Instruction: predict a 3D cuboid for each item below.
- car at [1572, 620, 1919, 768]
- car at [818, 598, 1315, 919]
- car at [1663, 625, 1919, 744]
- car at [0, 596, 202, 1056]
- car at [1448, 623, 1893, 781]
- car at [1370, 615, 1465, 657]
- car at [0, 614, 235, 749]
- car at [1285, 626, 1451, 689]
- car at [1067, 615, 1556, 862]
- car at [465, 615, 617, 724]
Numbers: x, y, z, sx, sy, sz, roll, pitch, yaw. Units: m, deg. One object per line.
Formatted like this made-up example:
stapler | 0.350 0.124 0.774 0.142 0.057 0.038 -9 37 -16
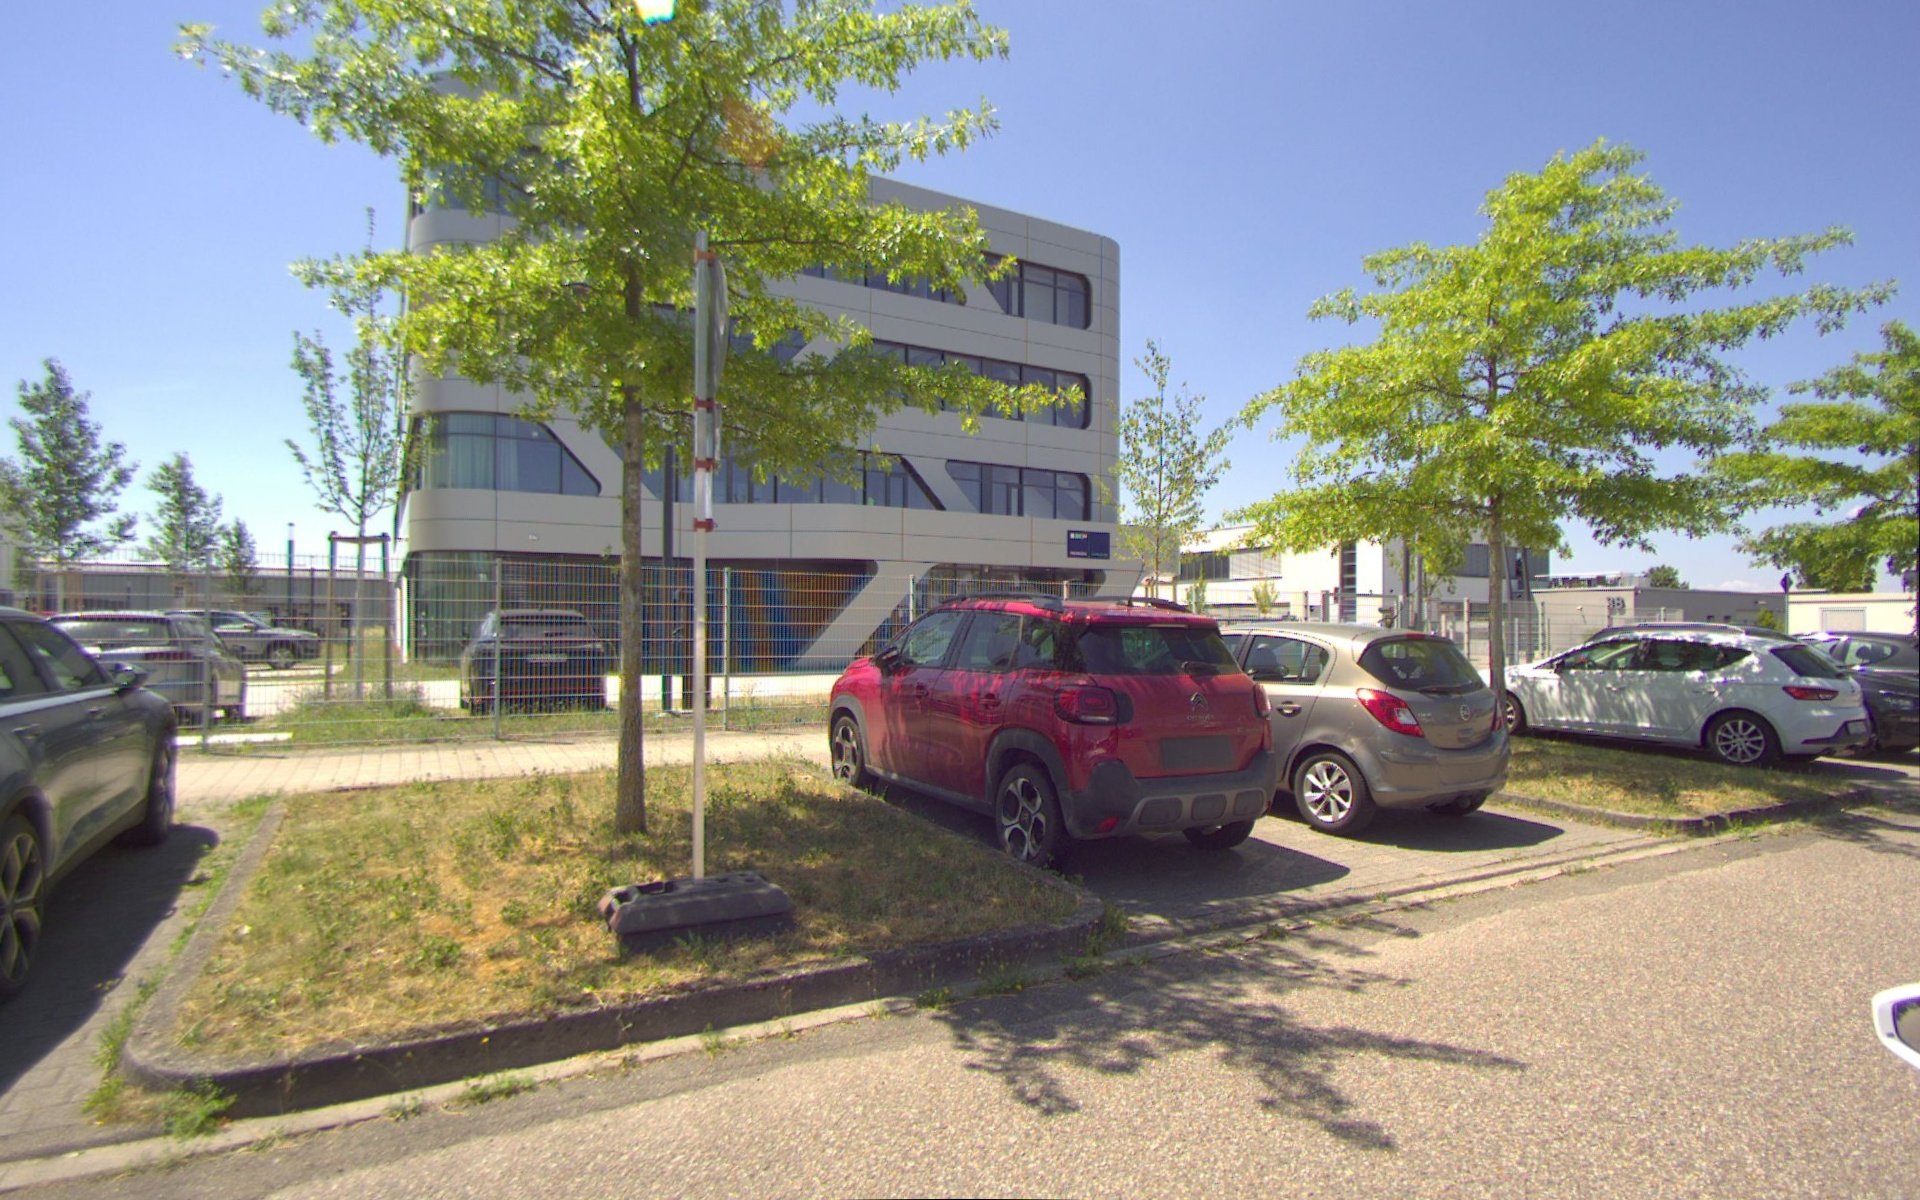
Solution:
car | 10.557 1.102 13.203 1.765 1.541 3.905 1 0 -32
car | 0.474 0.828 7.279 1.794 1.643 3.721 1 0 -29
car | 12.736 1.166 14.716 1.707 1.455 3.605 1 0 -32
car | -4.748 0.763 4.385 1.692 1.500 4.174 1 1 -29
car | 8.418 1.077 12.281 1.854 1.443 4.051 1 0 -33
car | 23.132 1.824 50.902 1.979 2.040 3.964 0 -2 -33
car | -10.208 0.924 12.409 1.658 1.409 3.463 1 -2 -30
car | 9.823 1.365 24.410 1.658 1.409 3.463 1 -3 -30
car | 2.724 0.931 8.525 1.713 1.529 3.635 1 0 -33
car | -6.285 0.988 14.866 1.658 1.409 3.463 1 -3 -30
